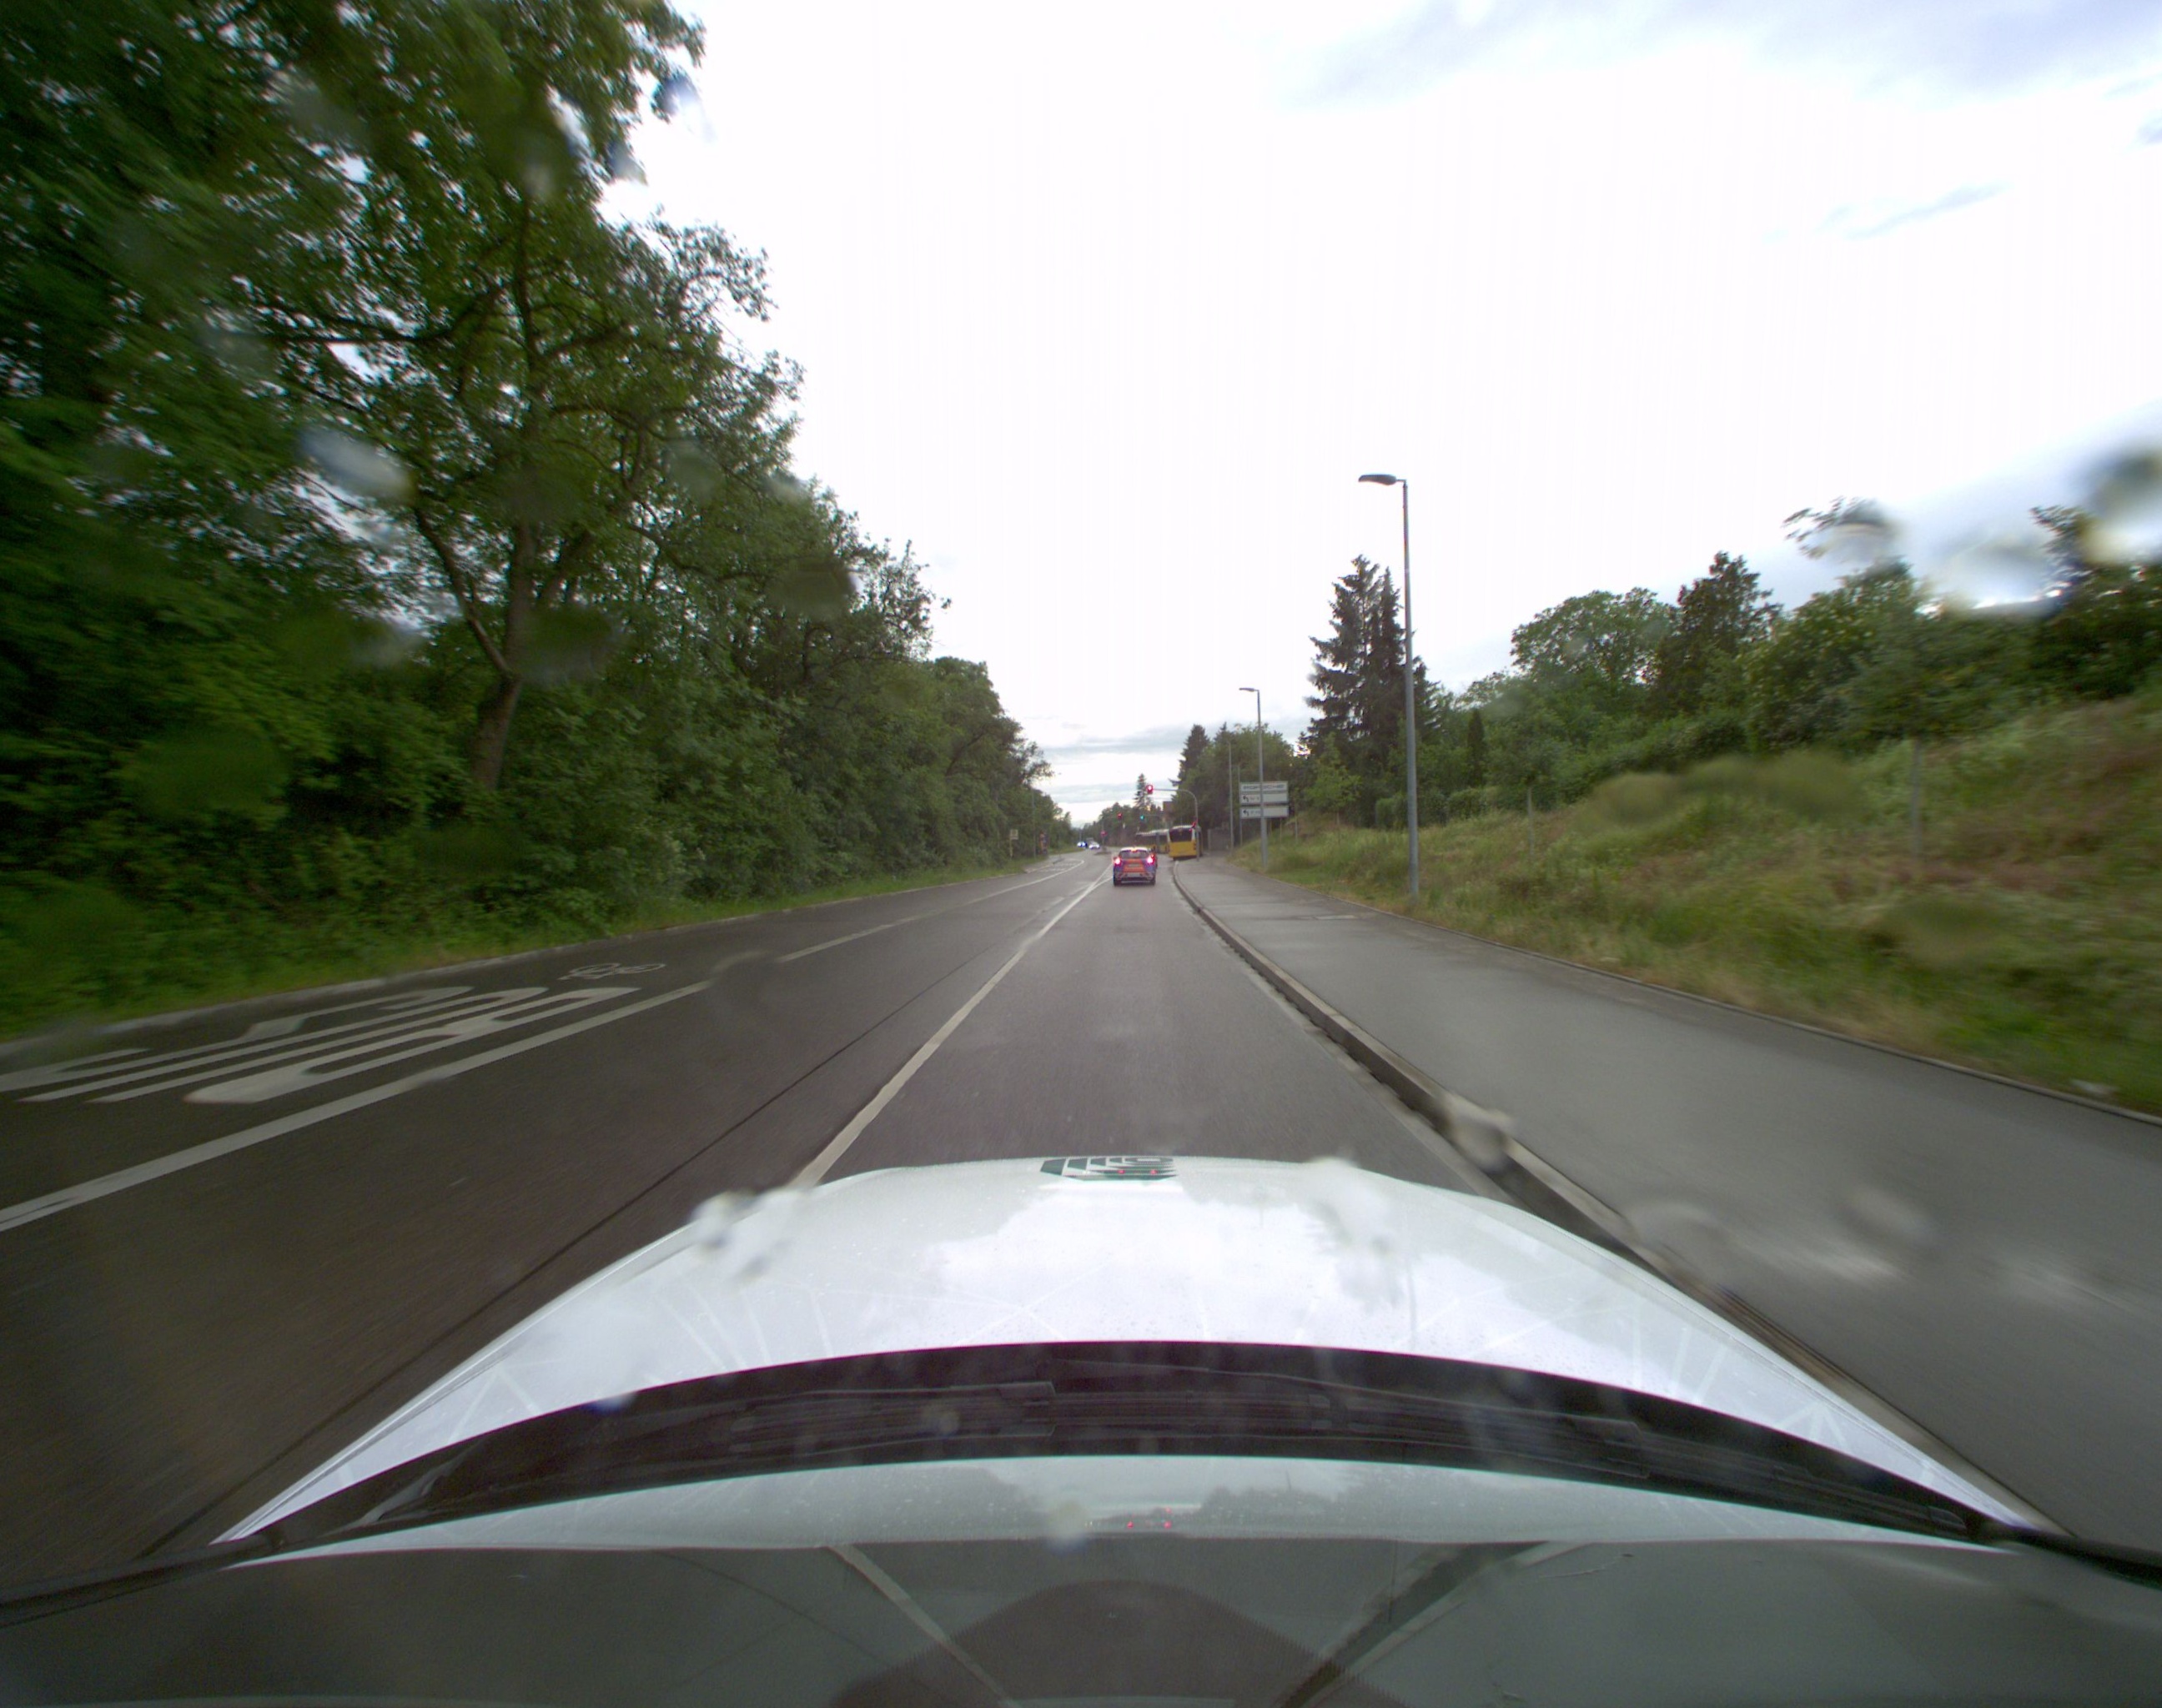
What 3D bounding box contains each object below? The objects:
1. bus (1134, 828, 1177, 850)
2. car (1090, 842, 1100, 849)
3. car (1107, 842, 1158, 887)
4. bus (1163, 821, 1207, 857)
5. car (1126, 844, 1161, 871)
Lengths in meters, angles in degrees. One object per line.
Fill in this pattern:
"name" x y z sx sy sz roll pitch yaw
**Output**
"bus" 10.203 -2.012 113.194 2.819 2.806 10.593 -1 0 -12
"car" 3.042 -1.790 177.456 1.988 1.420 3.997 -1 0 -2
"car" 2.189 0.405 34.707 1.985 1.689 4.004 -2 1 3
"bus" 9.914 -1.363 76.874 2.796 3.142 9.217 -1 0 15
"car" 3.775 0.180 49.560 1.919 1.486 3.802 -2 1 2
